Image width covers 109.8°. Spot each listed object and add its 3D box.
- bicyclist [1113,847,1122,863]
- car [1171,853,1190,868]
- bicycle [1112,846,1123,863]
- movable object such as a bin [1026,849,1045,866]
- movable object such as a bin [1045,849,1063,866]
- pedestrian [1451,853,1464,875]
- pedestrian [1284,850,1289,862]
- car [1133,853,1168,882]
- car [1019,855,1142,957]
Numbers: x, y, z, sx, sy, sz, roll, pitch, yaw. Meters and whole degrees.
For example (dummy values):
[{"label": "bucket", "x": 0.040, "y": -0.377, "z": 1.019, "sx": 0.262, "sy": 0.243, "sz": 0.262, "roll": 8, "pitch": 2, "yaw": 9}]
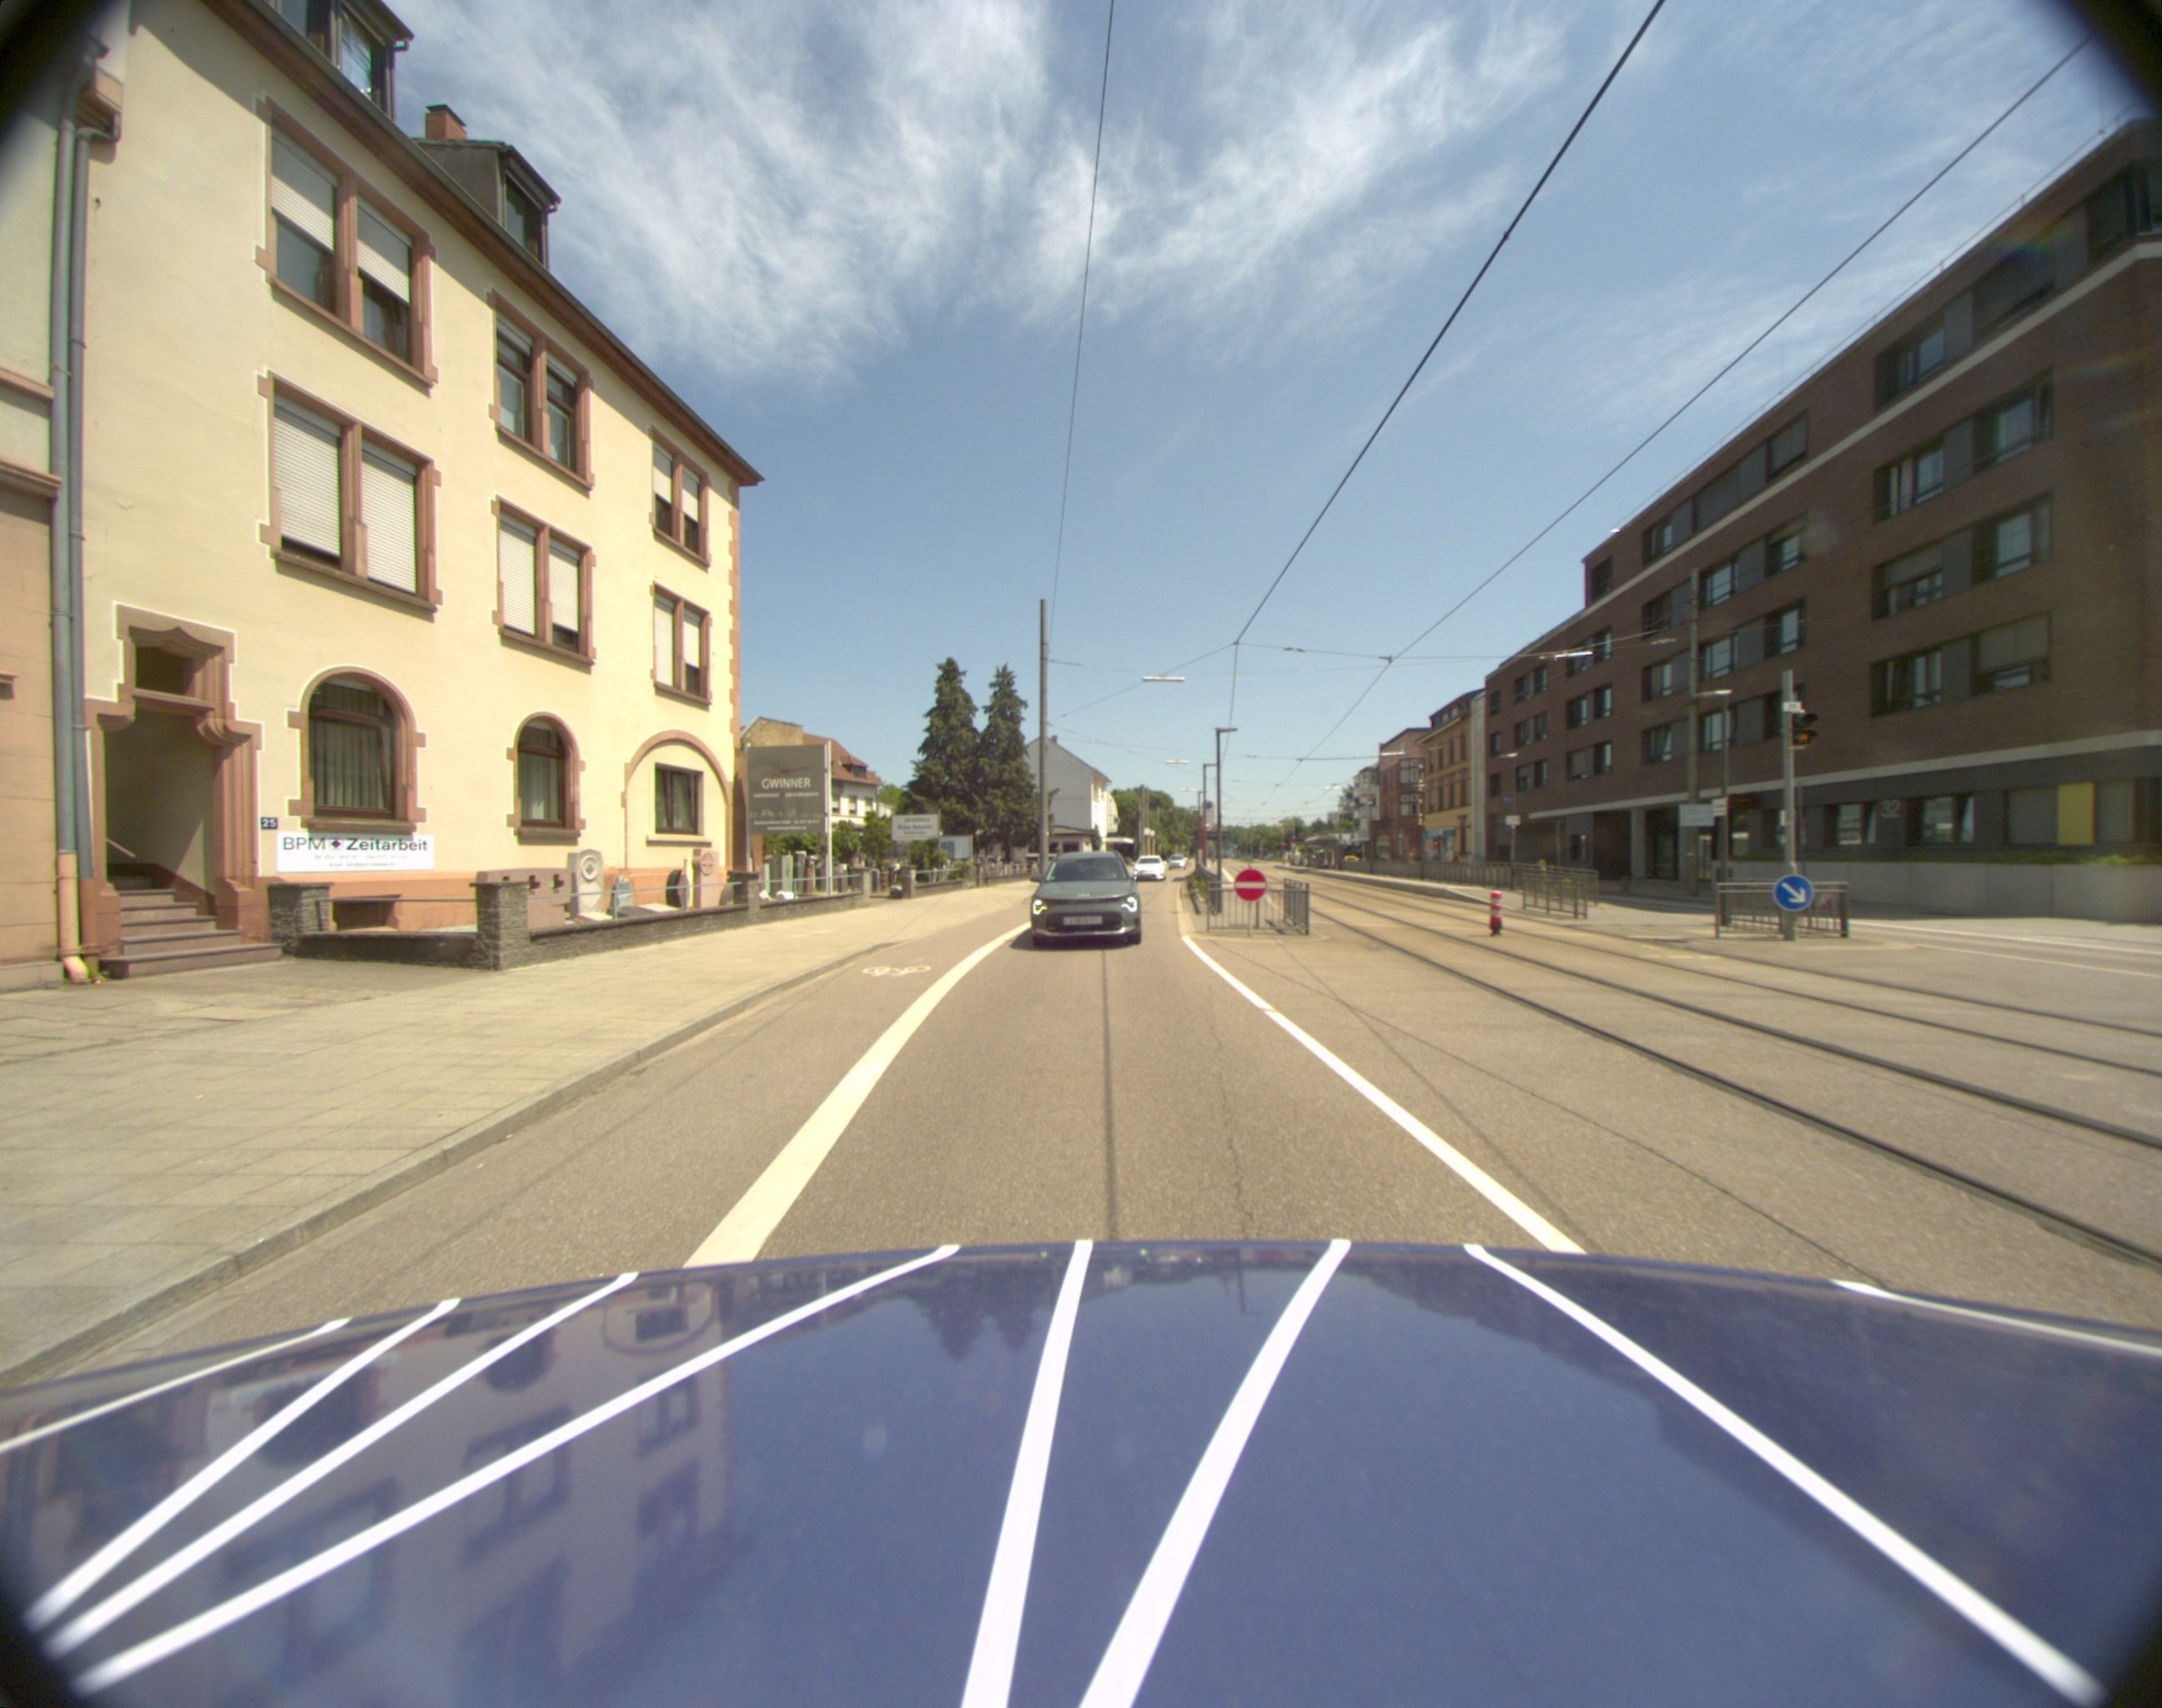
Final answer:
[{"label": "bicyclist", "x": 4.300, "y": 0.079, "z": 89.389, "sx": 0.790, "sy": 1.864, "sz": 0.888, "roll": 2, "pitch": 1, "yaw": 17}, {"label": "car", "x": 10.543, "y": 0.674, "z": 80.684, "sx": 1.748, "sy": 1.546, "sz": 4.489, "roll": -2, "pitch": 0, "yaw": 4}, {"label": "bicycle", "x": 4.327, "y": 0.063, "z": 89.548, "sx": 0.799, "sy": 1.889, "sz": 1.961, "roll": 2, "pitch": 0, "yaw": 17}, {"label": "movable object such as a bin", "x": -4.068, "y": 0.282, "z": 67.677, "sx": 1.389, "sy": 1.472, "sz": 1.152, "roll": 0, "pitch": 0, "yaw": 14}, {"label": "movable object such as a bin", "x": -2.384, "y": 0.327, "z": 67.346, "sx": 1.389, "sy": 1.472, "sz": 1.152, "roll": 0, "pitch": 0, "yaw": 11}, {"label": "pedestrian", "x": 27.118, "y": 0.693, "z": 54.756, "sx": 0.604, "sy": 1.586, "sz": 0.715, "roll": 0, "pitch": 1, "yaw": 8}, {"label": "pedestrian", "x": 28.097, "y": 0.281, "z": 103.912, "sx": 0.597, "sy": 1.615, "sz": 0.677, "roll": 1, "pitch": 1, "yaw": 10}, {"label": "car", "x": 4.120, "y": 0.736, "z": 44.423, "sx": 1.747, "sy": 1.546, "sz": 4.490, "roll": -2, "pitch": 0, "yaw": 8}, {"label": "car", "x": 0.171, "y": 0.813, "z": 14.035, "sx": 1.826, "sy": 1.546, "sz": 4.489, "roll": -1, "pitch": 0, "yaw": 5}]
